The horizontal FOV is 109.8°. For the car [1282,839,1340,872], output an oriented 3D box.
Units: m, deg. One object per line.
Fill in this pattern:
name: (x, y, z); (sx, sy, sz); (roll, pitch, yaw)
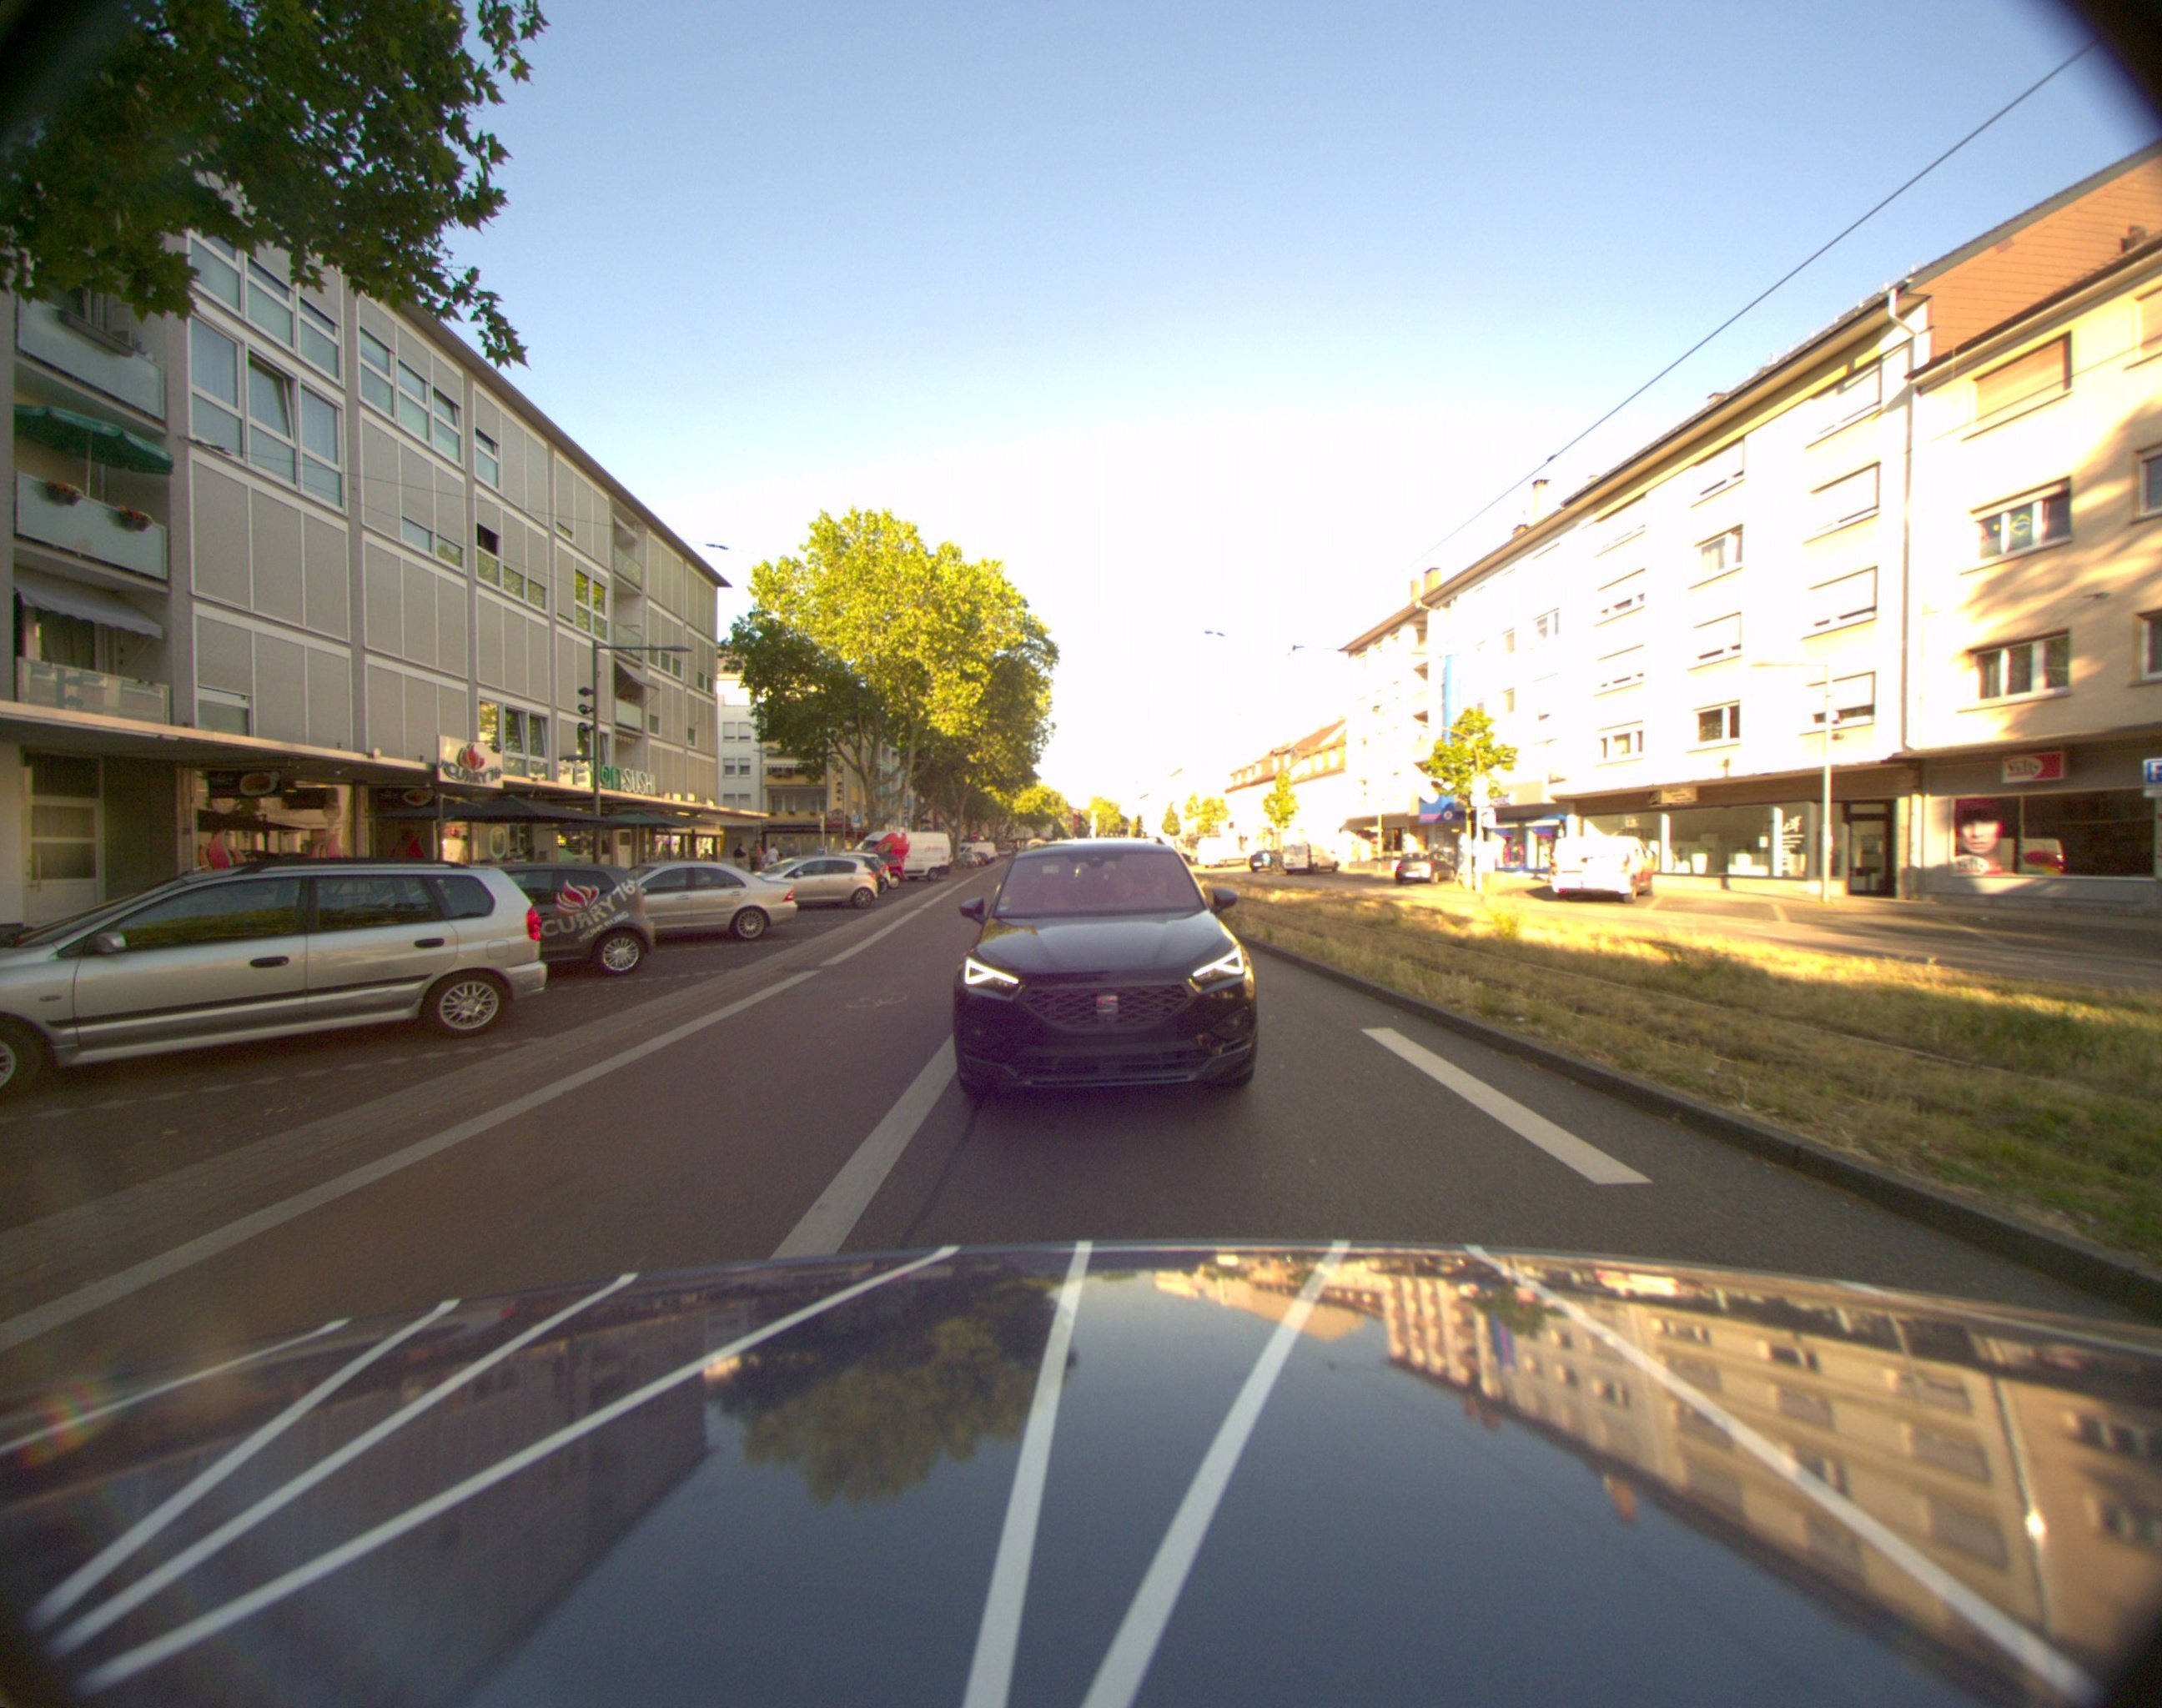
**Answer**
car: (14.531, 0.070, 47.843); (1.853, 1.927, 4.513); (-1, 1, 40)

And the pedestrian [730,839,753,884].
pedestrian: (-15.058, 0.337, 33.713); (0.748, 1.964, 0.575); (0, 1, -4)

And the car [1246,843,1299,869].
car: (13.813, 0.147, 54.686); (3.922, 1.704, 1.853); (-3, 2, -45)

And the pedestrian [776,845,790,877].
pedestrian: (-16.031, 0.348, 40.897); (0.545, 1.710, 0.457); (0, 1, -4)

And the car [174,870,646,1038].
car: (-7.634, 0.955, 9.008); (1.672, 1.420, 3.949); (2, 1, 38)

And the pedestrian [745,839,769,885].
pedestrian: (-14.192, 0.337, 33.329); (0.748, 2.002, 0.764); (0, 1, -4)

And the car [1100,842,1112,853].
car: (4.757, -1.216, 146.779); (1.906, 2.002, 3.998); (0, 1, -5)

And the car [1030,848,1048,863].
car: (-4.569, 0.135, 83.358); (1.729, 1.443, 4.227); (-2, 1, -1)

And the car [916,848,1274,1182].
car: (0.112, 0.825, 5.926); (1.784, 1.639, 3.999); (-2, 1, 1)

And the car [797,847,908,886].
car: (-9.172, 0.509, 30.559); (3.948, 1.421, 1.672); (1, 2, -32)

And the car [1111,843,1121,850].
car: (9.389, -2.113, 203.817); (2.498, 1.871, 5.273); (0, 1, 1)

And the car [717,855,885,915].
car: (-7.494, 0.793, 20.579); (3.950, 1.420, 1.555); (1, 1, -45)

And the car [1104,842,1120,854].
car: (4.714, -0.844, 115.392); (1.999, 1.783, 3.998); (0, 1, -4)

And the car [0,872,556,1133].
car: (-6.831, 0.974, 6.084); (1.672, 1.533, 3.993); (2, 1, 38)

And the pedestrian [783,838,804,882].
pedestrian: (-13.301, 0.267, 35.183); (0.748, 2.002, 0.559); (0, 1, -4)

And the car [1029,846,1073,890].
car: (-1.165, 0.511, 31.260); (1.646, 1.646, 3.999); (-2, 1, -1)

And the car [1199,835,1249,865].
car: (12.970, -0.410, 68.599); (1.922, 2.599, 6.601); (-1, 1, 34)

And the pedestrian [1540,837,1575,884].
pedestrian: (18.629, 0.247, 29.703); (0.757, 1.817, 0.917); (-1, 1, -2)

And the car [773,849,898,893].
car: (-8.816, 0.627, 27.333); (3.948, 1.421, 1.672); (2, 2, -32)

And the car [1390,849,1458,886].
car: (15.380, 0.562, 33.943); (1.731, 1.489, 4.008); (-1, 1, 40)

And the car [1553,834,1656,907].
car: (15.616, 0.418, 22.579); (1.853, 1.888, 4.007); (-1, 2, 44)

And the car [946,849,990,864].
car: (-10.798, 0.250, 72.915); (1.778, 1.396, 3.943); (0, 1, 44)

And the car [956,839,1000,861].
car: (-11.504, -0.448, 85.084); (1.973, 2.455, 4.605); (1, 1, 44)

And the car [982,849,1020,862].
car: (-8.676, 0.127, 82.752); (1.778, 1.326, 3.943); (0, 1, 44)

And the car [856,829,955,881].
car: (-8.697, 0.063, 37.894); (4.606, 2.479, 1.672); (0, 0, -44)

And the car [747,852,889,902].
car: (-8.294, 0.713, 24.078); (3.949, 1.420, 1.672); (1, 1, -34)

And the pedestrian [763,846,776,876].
pedestrian: (-16.746, 0.374, 40.838); (0.537, 1.630, 0.478); (0, 1, -4)

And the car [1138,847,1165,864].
car: (6.821, 0.110, 73.908); (1.846, 1.571, 4.448); (-2, 1, -4)

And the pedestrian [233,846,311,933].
pedestrian: (-15.062, 0.635, 14.171); (0.583, 1.573, 0.771); (0, 1, 2)

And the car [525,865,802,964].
car: (-7.155, 0.931, 13.338); (1.592, 1.393, 3.950); (2, 1, 41)
